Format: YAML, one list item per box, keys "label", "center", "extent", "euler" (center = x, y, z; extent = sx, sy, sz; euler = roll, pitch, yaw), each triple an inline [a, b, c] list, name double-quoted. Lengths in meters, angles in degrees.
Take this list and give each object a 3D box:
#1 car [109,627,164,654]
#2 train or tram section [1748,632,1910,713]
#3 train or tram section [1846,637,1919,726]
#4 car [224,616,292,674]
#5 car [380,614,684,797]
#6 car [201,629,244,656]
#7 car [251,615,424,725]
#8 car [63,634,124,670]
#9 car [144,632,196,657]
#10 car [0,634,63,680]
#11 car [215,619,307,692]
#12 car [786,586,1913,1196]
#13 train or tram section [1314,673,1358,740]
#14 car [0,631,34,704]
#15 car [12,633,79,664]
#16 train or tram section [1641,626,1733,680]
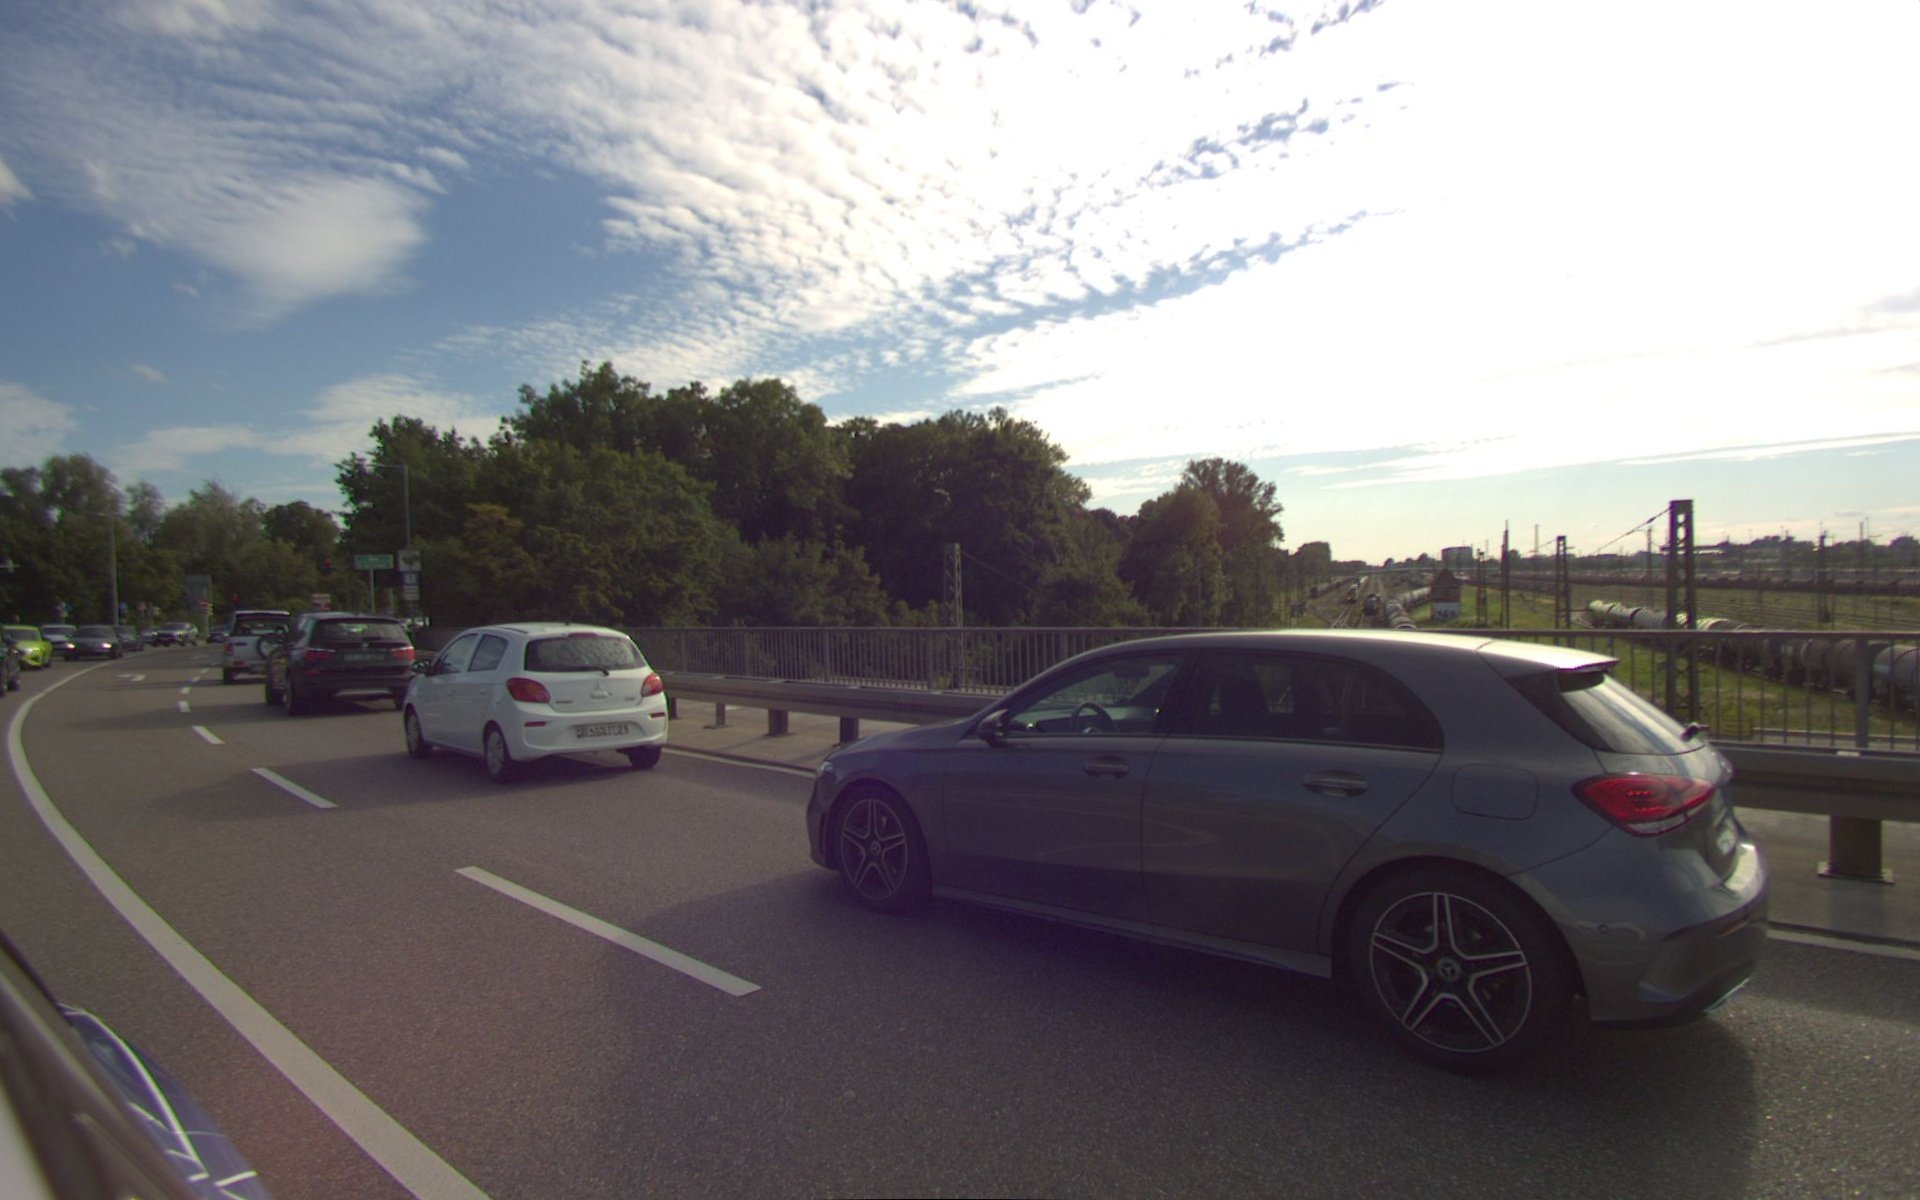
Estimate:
- label: "car"
  center: [-45.027, 2.191, 55.421]
  extent: [1.663, 1.333, 3.796]
  euler: [0, -1, -28]
- label: "train or tram section"
  center: [60.811, 4.779, 71.633]
  extent: [3.074, 4.748, 16.632]
  euler: [-1, -1, 21]
- label: "train or tram section"
  center: [54.984, 4.600, 56.119]
  extent: [3.074, 4.748, 16.632]
  euler: [-1, -1, 21]
- label: "car"
  center: [-25.935, 1.625, 37.472]
  extent: [1.958, 1.979, 5.061]
  euler: [0, -2, -34]
- label: "car"
  center: [-4.626, 0.955, 10.645]
  extent: [1.663, 1.557, 3.926]
  euler: [1, -2, -44]
- label: "car"
  center: [-58.167, 3.314, 79.890]
  extent: [1.965, 2.029, 4.286]
  euler: [0, -1, -26]
- label: "car"
  center: [-11.089, 1.141, 17.874]
  extent: [1.846, 1.679, 4.636]
  euler: [1, -2, -41]
- label: "car"
  center: [-36.363, 2.152, 42.549]
  extent: [1.664, 1.333, 3.793]
  euler: [0, -1, -36]
- label: "car"
  center: [-54.430, 3.049, 69.795]
  extent: [1.965, 1.612, 4.295]
  euler: [0, -1, -27]
- label: "car"
  center: [-31.326, 1.855, 33.582]
  extent: [1.790, 1.415, 4.402]
  euler: [0, -2, -34]
- label: "car"
  center: [-18.377, 1.405, 26.543]
  extent: [1.751, 1.759, 3.845]
  euler: [0, -2, -38]
- label: "car"
  center: [1.276, 0.760, 4.579]
  extent: [4.323, 1.468, 1.794]
  euler: [-2, -2, 42]
- label: "train or tram section"
  center: [24.767, 6.883, 66.558]
  extent: [2.040, 3.812, 6.783]
  euler: [-1, -1, 26]
- label: "car"
  center: [-21.446, 1.437, 21.658]
  extent: [1.790, 1.519, 4.402]
  euler: [0, -2, -34]
- label: "car"
  center: [-42.676, 2.243, 47.311]
  extent: [1.663, 1.333, 3.795]
  euler: [0, -1, -32]
- label: "train or tram section"
  center: [71.916, 5.071, 100.648]
  extent: [3.074, 4.748, 16.632]
  euler: [-1, -1, 21]
